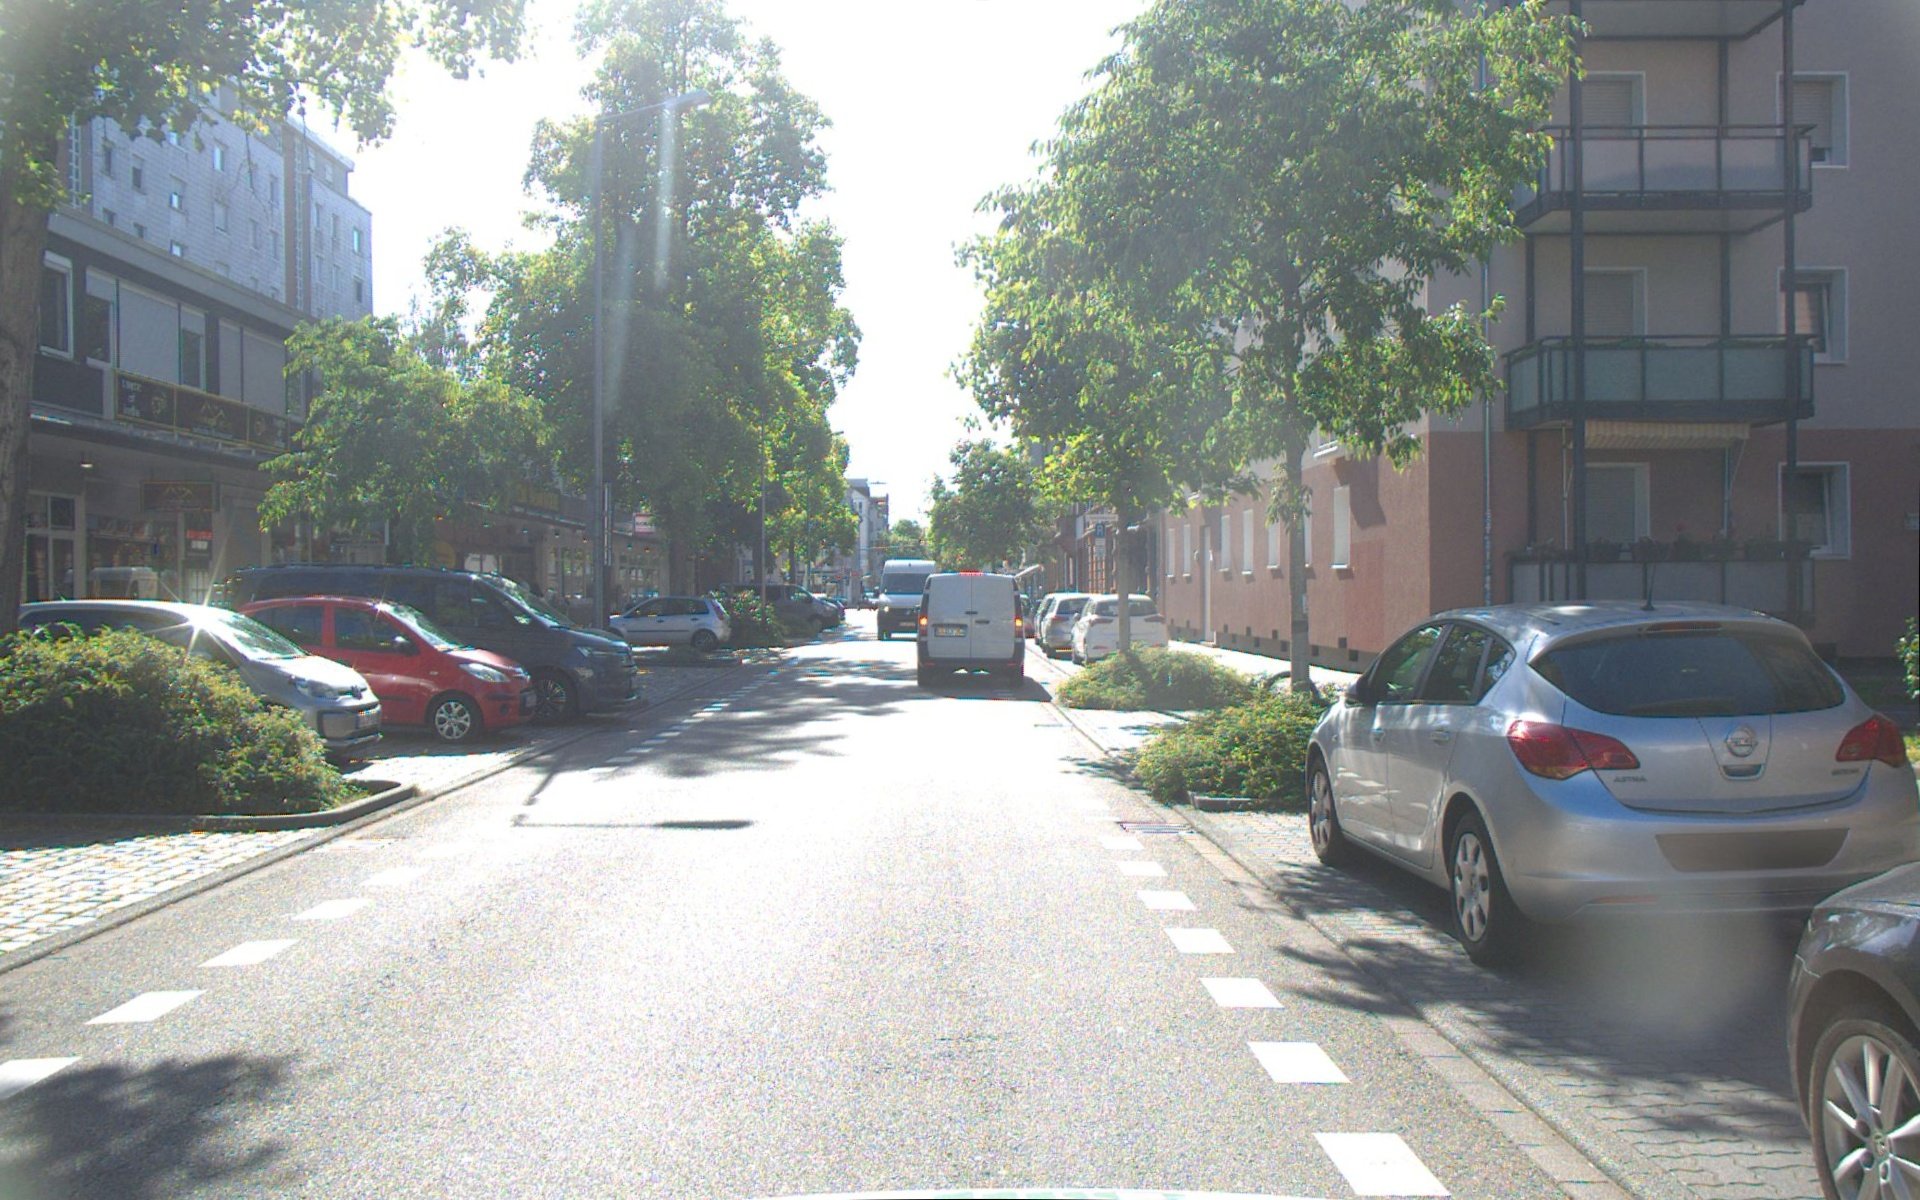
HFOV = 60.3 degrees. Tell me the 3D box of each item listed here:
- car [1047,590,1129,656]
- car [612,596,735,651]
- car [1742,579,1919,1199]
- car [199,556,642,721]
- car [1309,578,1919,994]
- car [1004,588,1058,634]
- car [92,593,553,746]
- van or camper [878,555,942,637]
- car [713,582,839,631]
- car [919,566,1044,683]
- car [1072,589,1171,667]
[{"bbox_3d":[3.102,0.534,40.653,1.704,1.546,3.857,0,0,0],"label":"car"},{"bbox_3d":[-7.626,0.608,44.197,3.037,1.433,1.661,0,0,-2],"label":"car"},{"bbox_3d":[2.914,0.711,2.095,1.746,1.546,4.308,-2,0,0],"label":"car"},{"bbox_3d":[-6.788,0.468,21.194,5.108,2.016,1.661,0,0,-2],"label":"car"},{"bbox_3d":[2.990,0.686,8.132,1.704,1.546,3.857,0,0,0],"label":"car"},{"bbox_3d":[2.480,0.361,58.284,1.704,1.546,3.857,0,0,0],"label":"car"},{"bbox_3d":[-7.056,0.741,18.633,4.533,1.638,1.661,0,0,-2],"label":"car"},{"bbox_3d":[-1.587,-0.131,54.436,1.953,2.518,5.819,-1,0,-1],"label":"van or camper"},{"bbox_3d":[-7.644,0.256,69.068,5.108,2.016,1.661,0,0,-2],"label":"car"},{"bbox_3d":[0.298,0.379,30.271,2.058,1.941,5.423,0,1,-2],"label":"car"},{"bbox_3d":[3.360,0.546,35.017,1.704,1.546,3.857,0,0,0],"label":"car"}]
